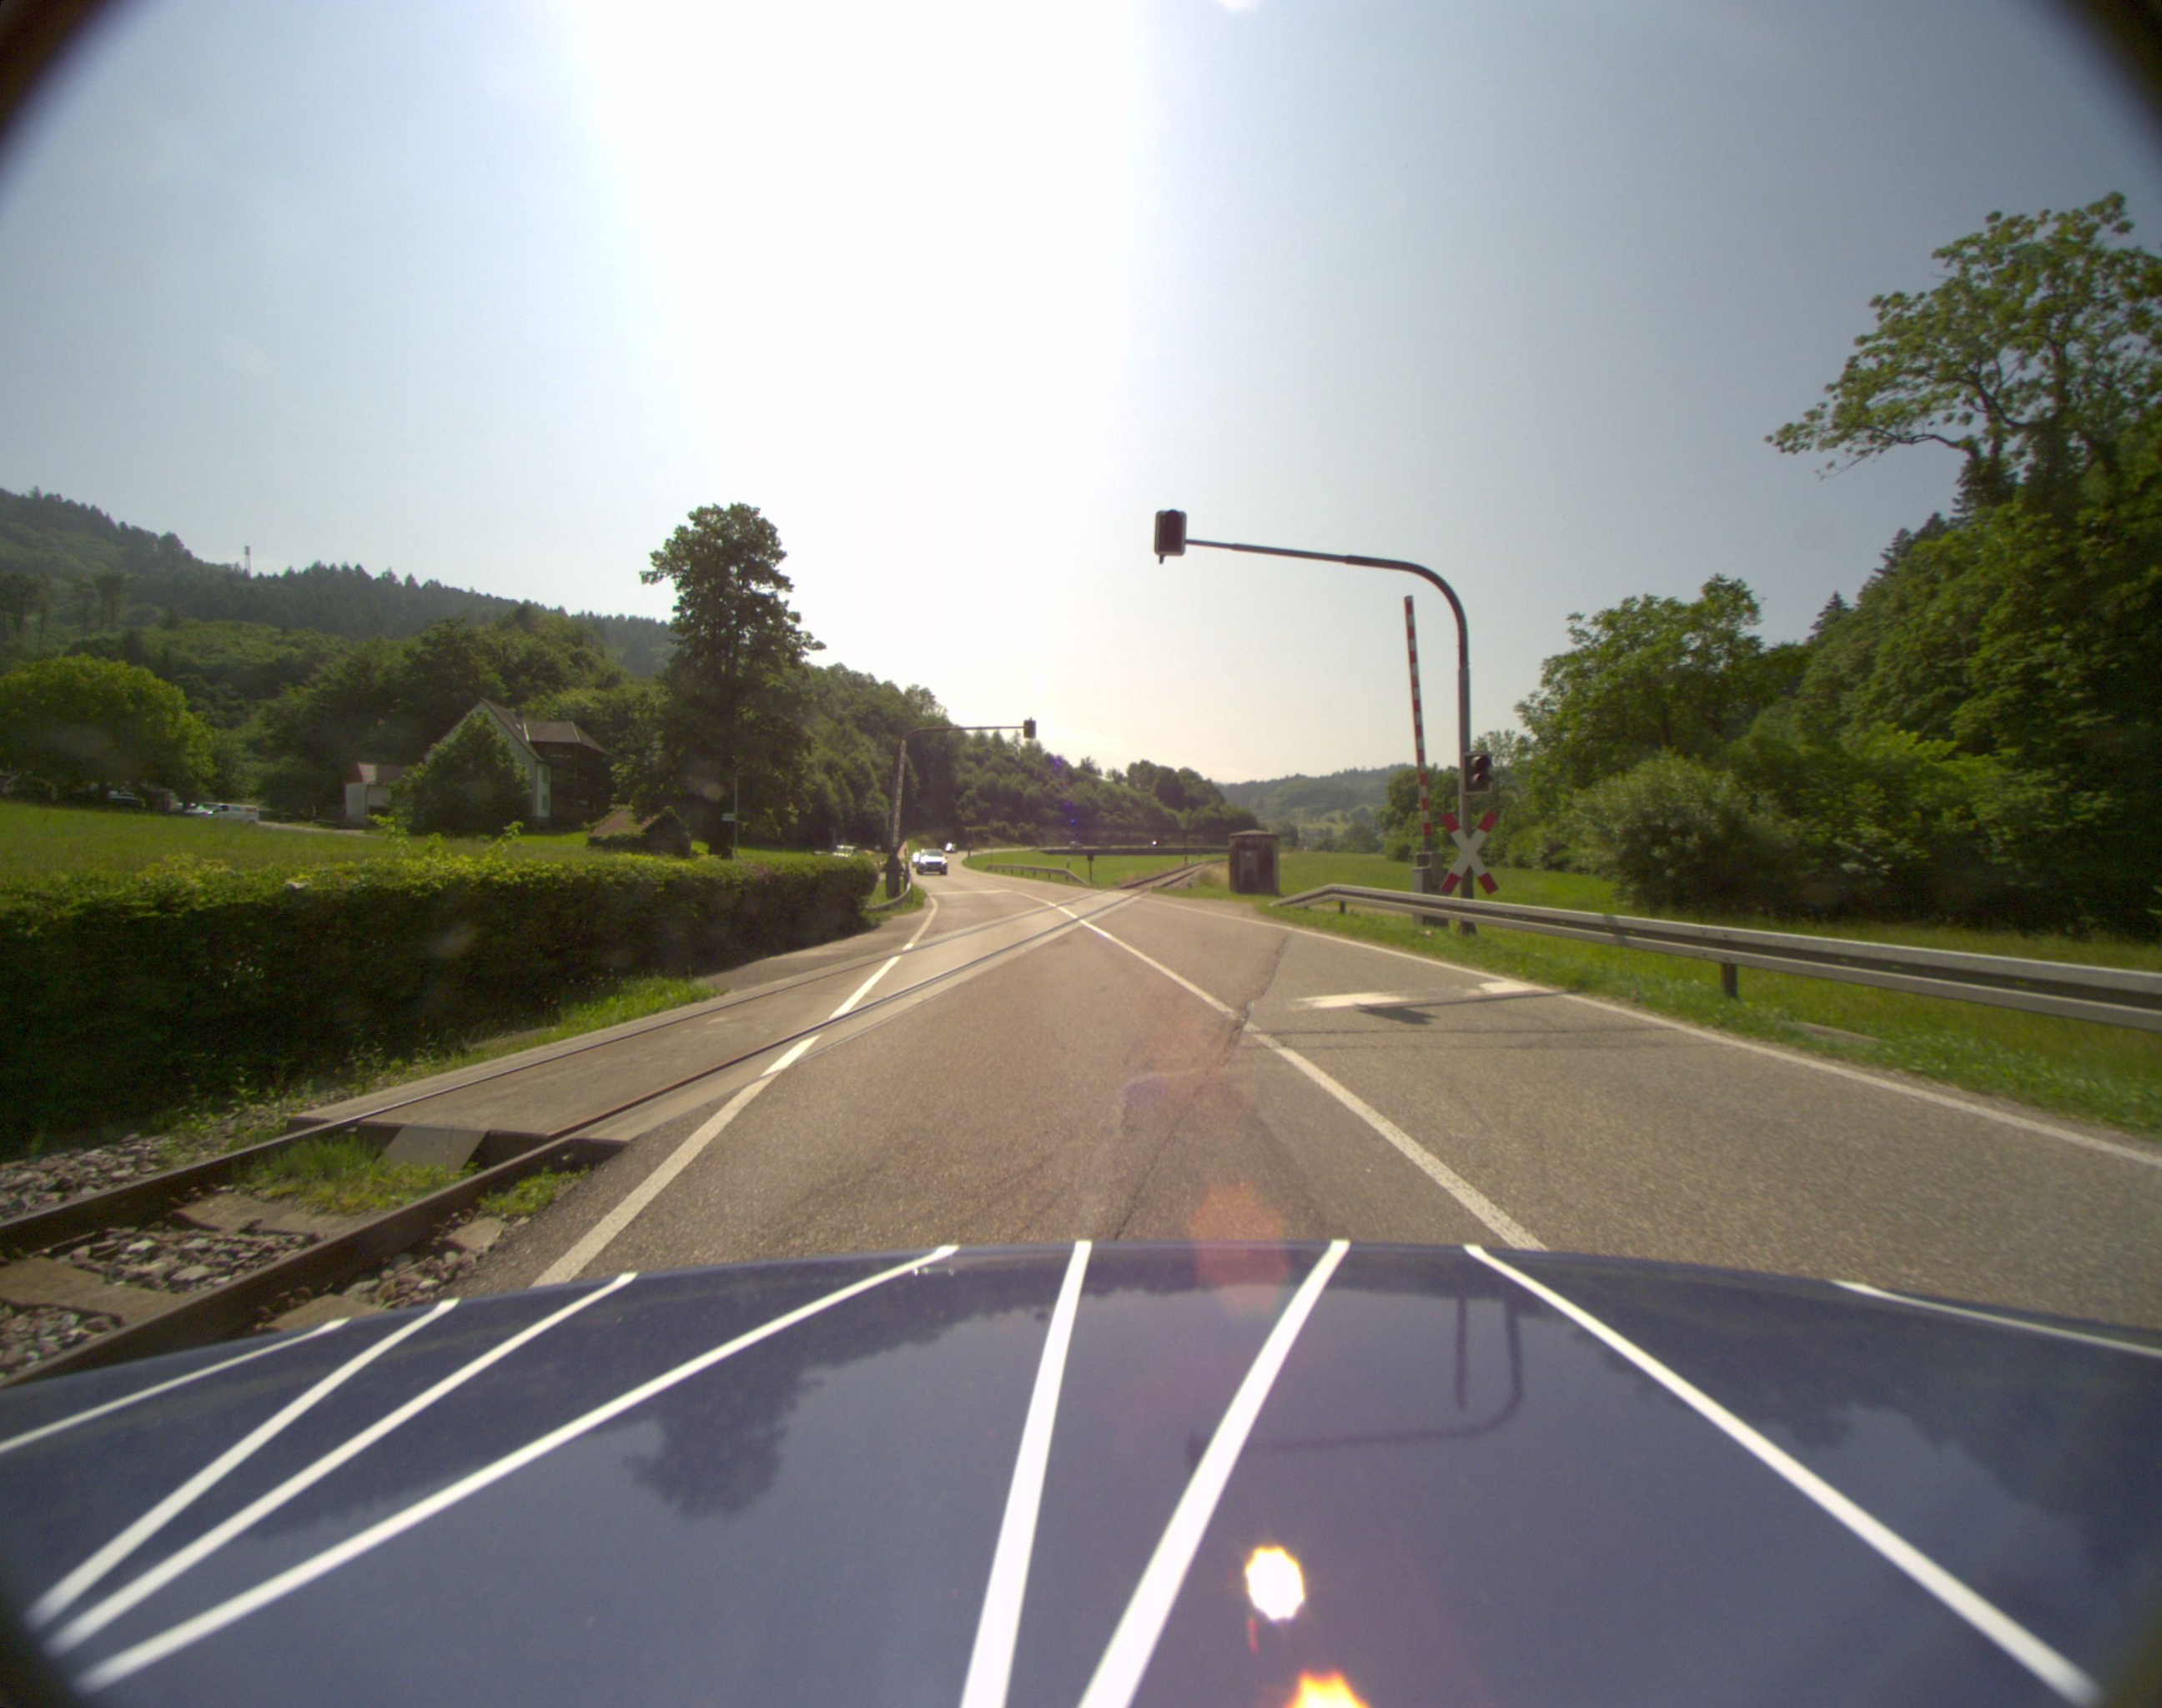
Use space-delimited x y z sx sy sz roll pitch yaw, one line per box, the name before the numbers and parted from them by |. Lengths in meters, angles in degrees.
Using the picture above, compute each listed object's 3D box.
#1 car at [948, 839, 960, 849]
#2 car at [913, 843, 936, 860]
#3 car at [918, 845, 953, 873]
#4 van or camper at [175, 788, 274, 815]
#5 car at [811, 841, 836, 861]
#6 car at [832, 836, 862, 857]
car | -24.895 -1.930 148.943 1.999 1.774 3.998 2 1 -3
car | -15.585 -0.282 75.749 2.149 1.482 4.666 1 1 -12
car | -10.279 0.327 53.426 2.120 1.804 4.448 2 1 -15
van or camper | -73.540 -4.498 65.411 2.819 1.938 5.430 2 1 -10
car | -22.123 -0.291 65.274 1.681 1.448 3.706 3 2 -23
car | -22.674 -0.756 73.812 2.006 1.838 4.863 6 0 -9
